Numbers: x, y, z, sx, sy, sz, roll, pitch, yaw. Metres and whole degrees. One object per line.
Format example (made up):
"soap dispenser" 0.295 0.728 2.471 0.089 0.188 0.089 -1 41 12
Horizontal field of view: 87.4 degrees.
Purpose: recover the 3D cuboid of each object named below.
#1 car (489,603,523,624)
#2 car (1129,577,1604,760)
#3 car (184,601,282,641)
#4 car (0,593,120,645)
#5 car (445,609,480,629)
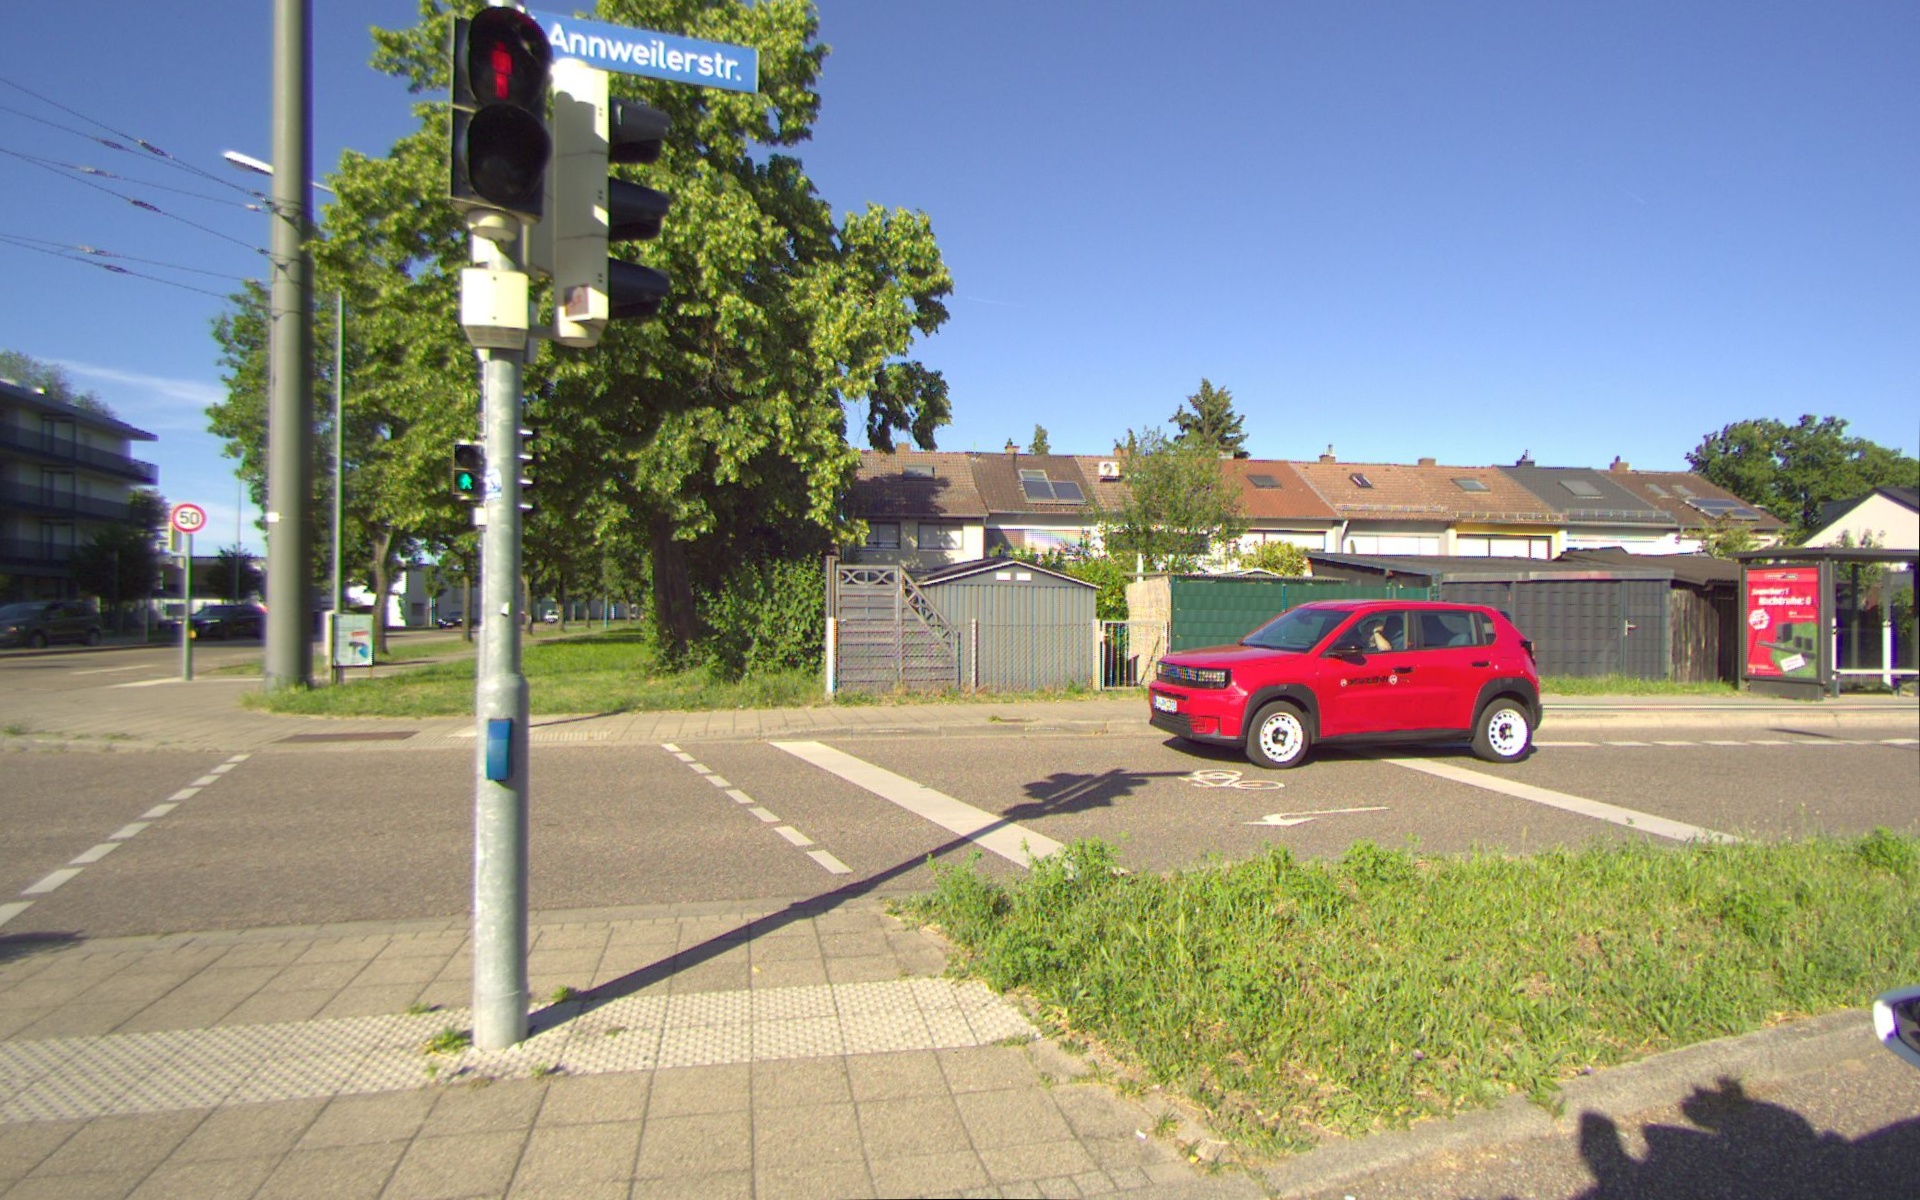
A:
"car" -40.982 1.201 90.669 1.868 1.781 3.992 3 -1 -11
"car" 4.010 0.630 10.209 4.108 1.610 1.941 1 0 -13
"car" -34.308 0.963 47.589 1.966 1.760 5.184 0 0 -15
"car" -29.742 0.600 32.615 1.963 1.592 3.994 0 -1 -9
"car" -39.190 1.468 79.194 1.656 1.555 3.988 0 0 -15
